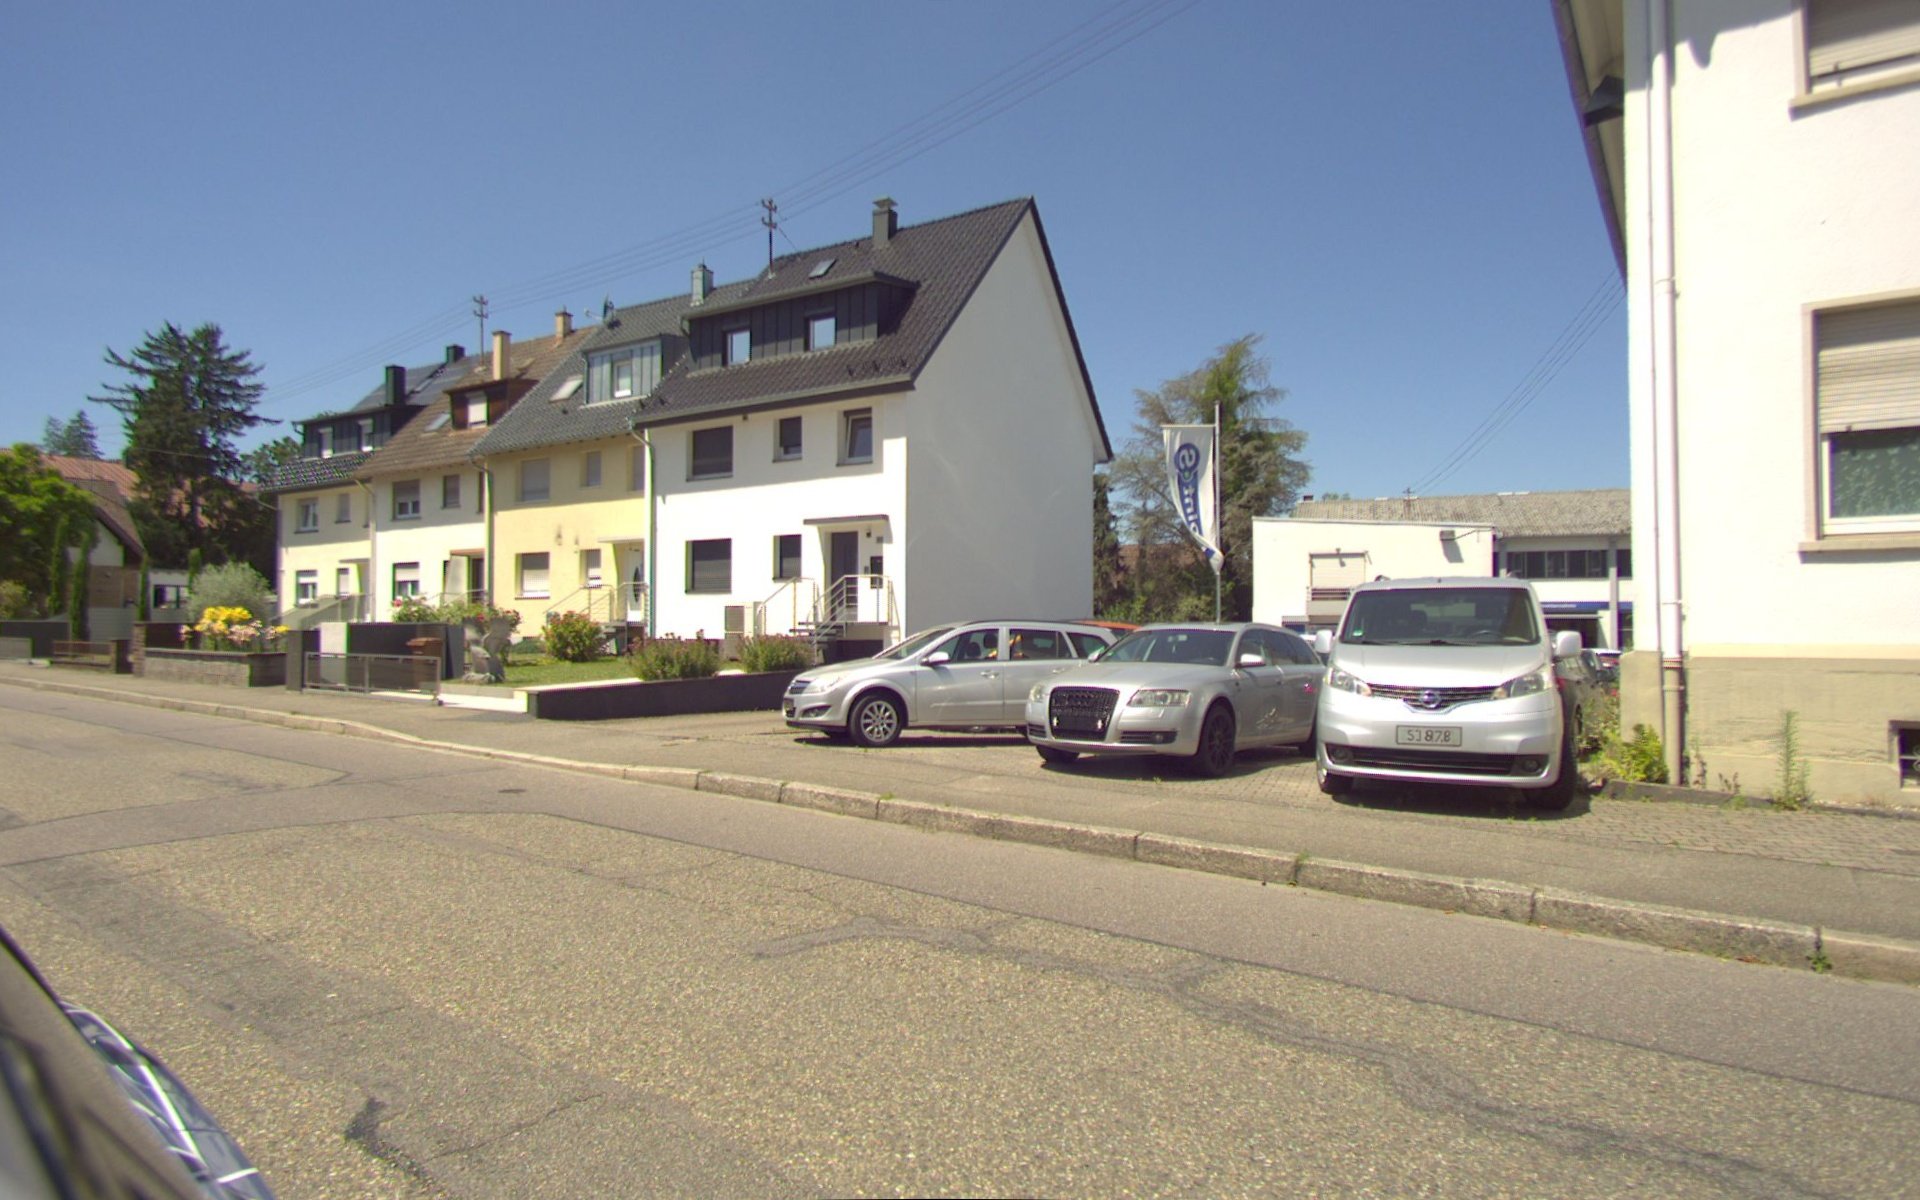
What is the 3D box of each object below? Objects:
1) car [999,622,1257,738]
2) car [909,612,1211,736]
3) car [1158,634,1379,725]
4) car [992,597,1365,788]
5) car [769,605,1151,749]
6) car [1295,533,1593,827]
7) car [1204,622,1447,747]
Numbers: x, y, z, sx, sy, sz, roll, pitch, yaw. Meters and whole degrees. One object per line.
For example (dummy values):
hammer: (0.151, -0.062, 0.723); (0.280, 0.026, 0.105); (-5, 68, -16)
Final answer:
car: (2.754, 1.351, 17.229); (3.940, 1.741, 2.002); (2, -4, -4)
car: (1.374, 1.085, 14.983); (4.143, 1.657, 1.855); (1, -3, -5)
car: (6.320, 1.661, 21.195); (4.137, 1.769, 1.820); (0, -5, 9)
car: (2.442, 0.883, 10.380); (1.974, 1.507, 4.427); (-2, -5, 39)
car: (-0.016, 0.929, 12.234); (4.201, 1.507, 1.882); (2, -4, -21)
car: (4.350, 0.653, 8.857); (1.843, 1.891, 4.320); (-1, -4, 30)
car: (5.398, 1.264, 14.572); (1.974, 1.507, 4.427); (-2, -7, 39)
